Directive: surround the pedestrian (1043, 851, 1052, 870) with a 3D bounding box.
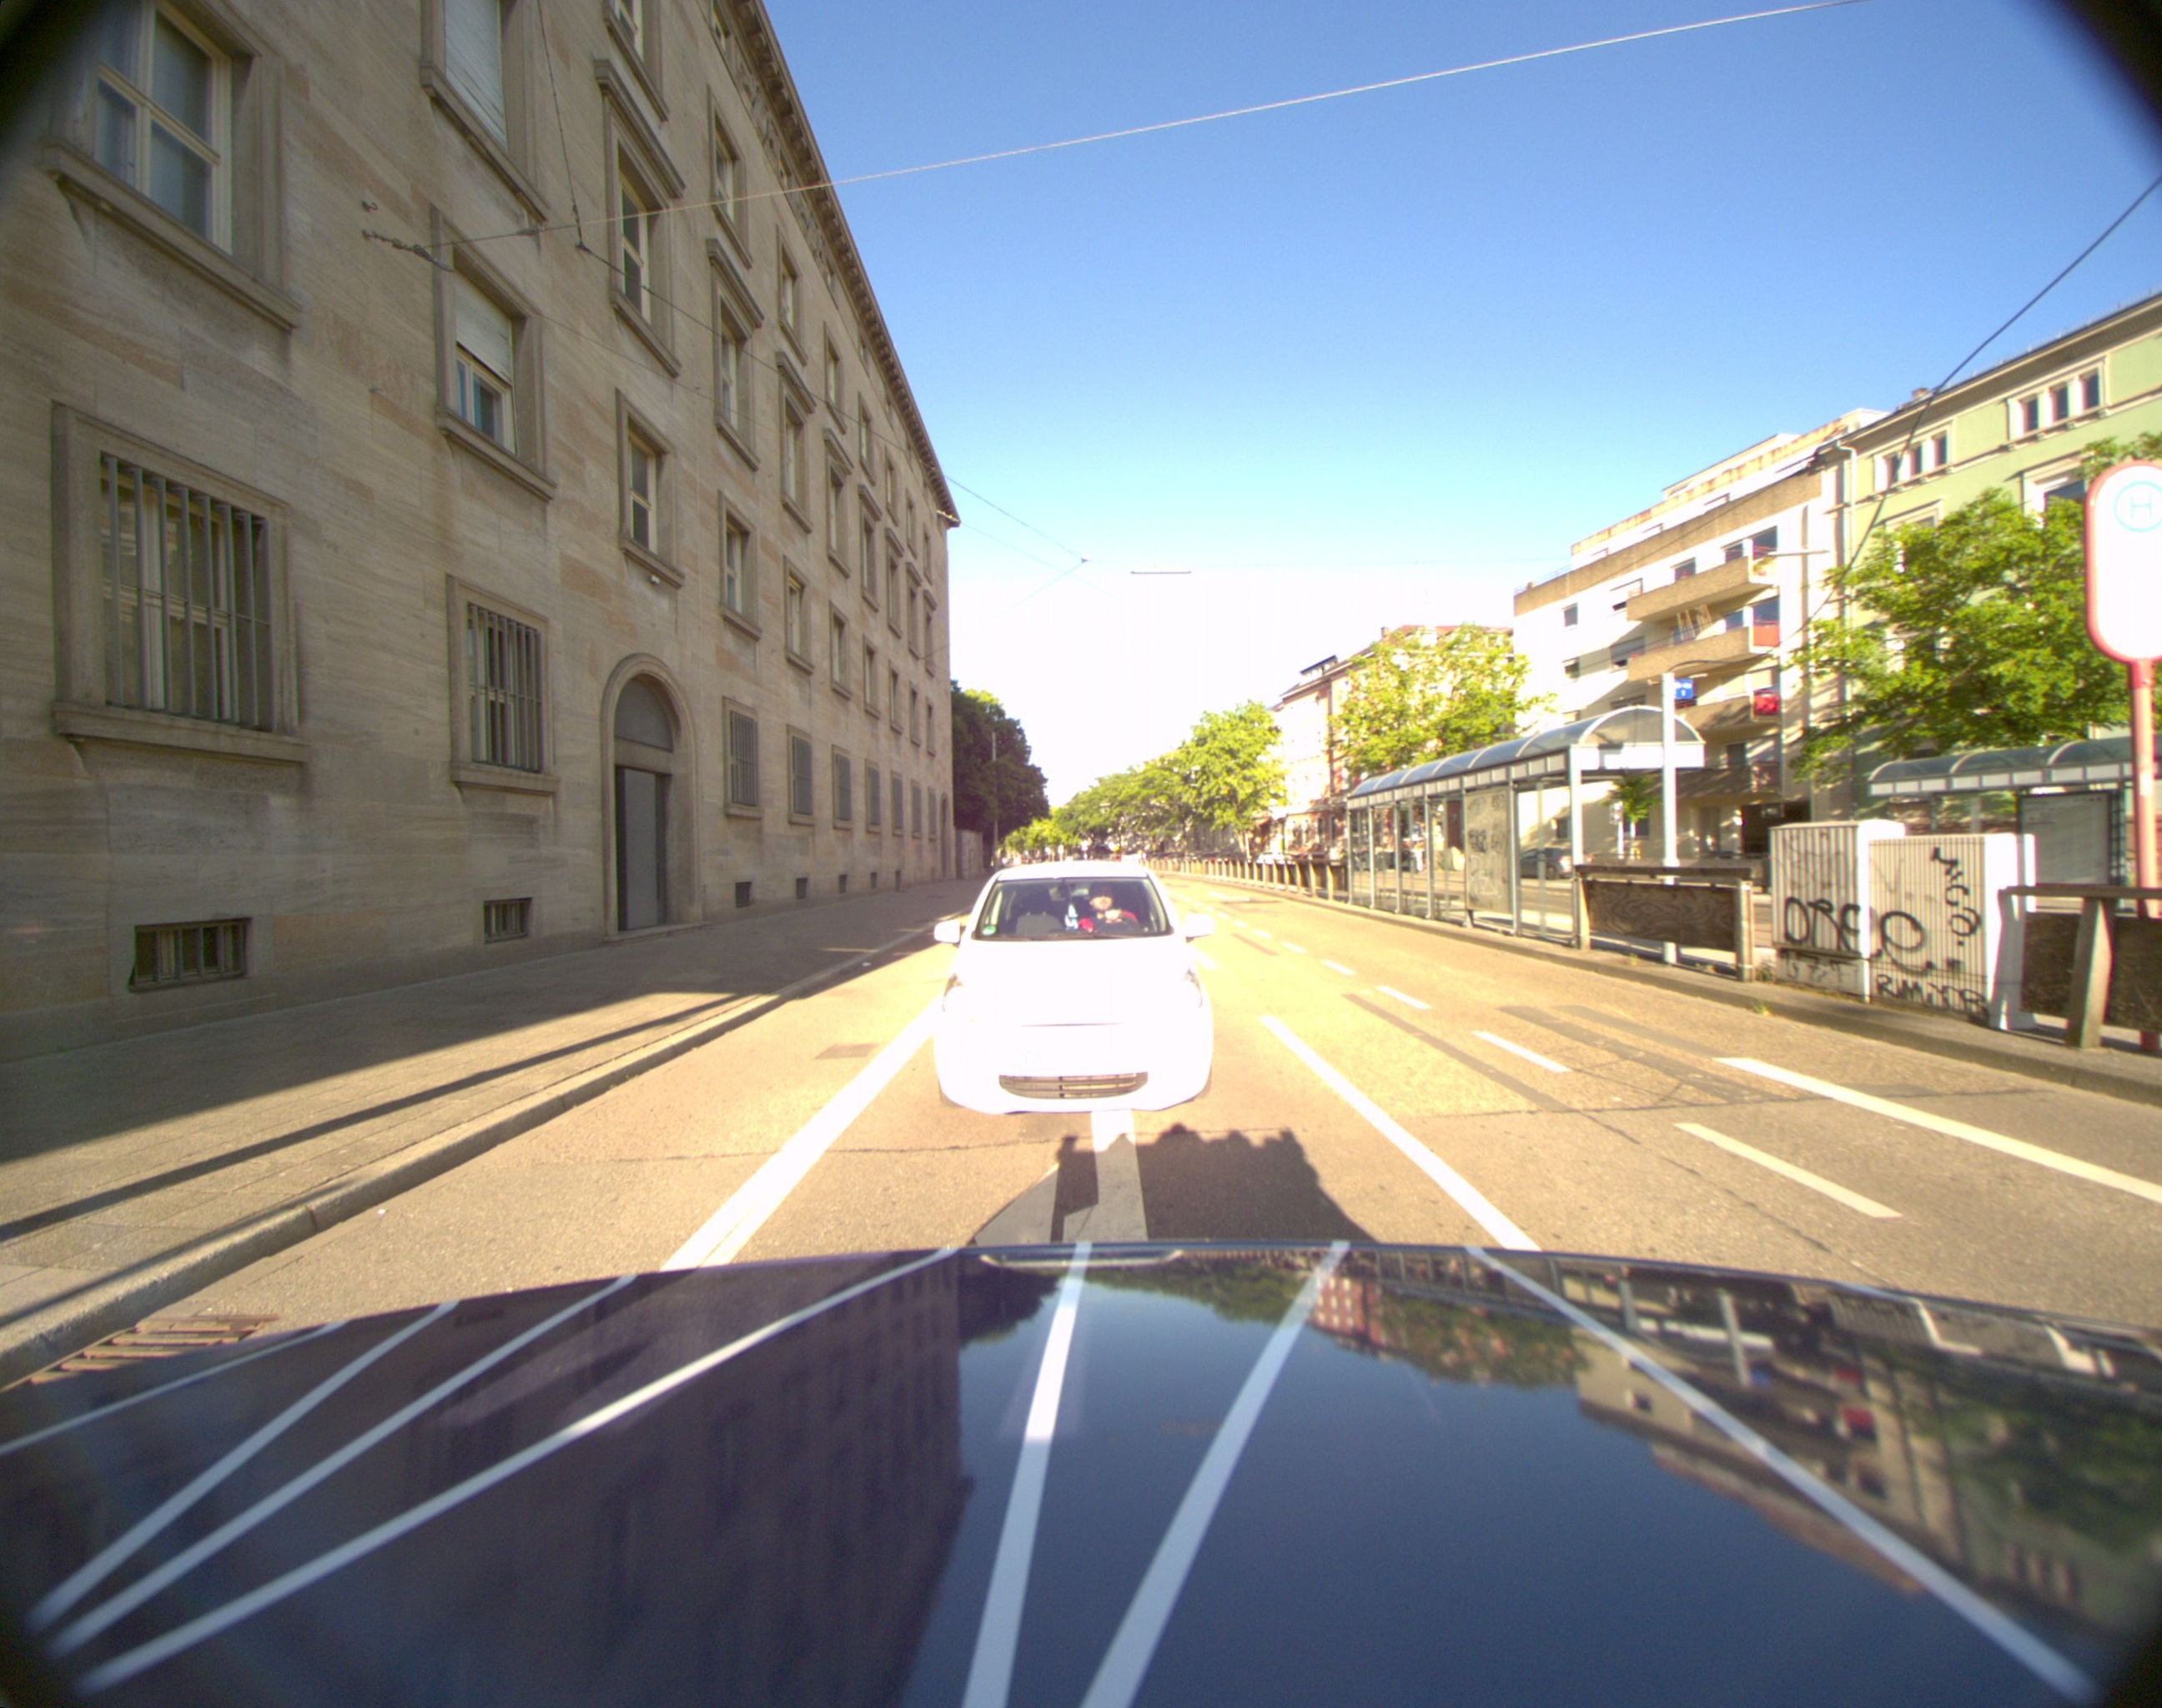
[{"bbox_3d":[-3.054,0.580,69.483,0.687,1.673,0.928,-1,1,-9],"label":"pedestrian"}]

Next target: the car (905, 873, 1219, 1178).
[{"bbox_3d":[-0.075,0.945,5.780,1.606,1.455,3.621,-1,0,1],"label":"car"}]

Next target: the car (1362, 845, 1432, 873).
[{"bbox_3d":[18.381,0.284,44.415,2.000,1.521,3.997,-1,0,-8],"label":"car"}]

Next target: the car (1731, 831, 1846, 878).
[{"bbox_3d":[31.402,0.008,33.750,4.001,2.002,1.798,-1,1,-13],"label":"car"}]

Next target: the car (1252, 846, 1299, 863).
[{"bbox_3d":[16.170,0.015,63.203,3.648,1.342,1.578,-2,1,-29],"label":"car"}]

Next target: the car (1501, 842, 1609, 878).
[{"bbox_3d":[21.093,0.256,34.044,2.000,1.521,3.997,0,0,-8],"label":"car"}]
